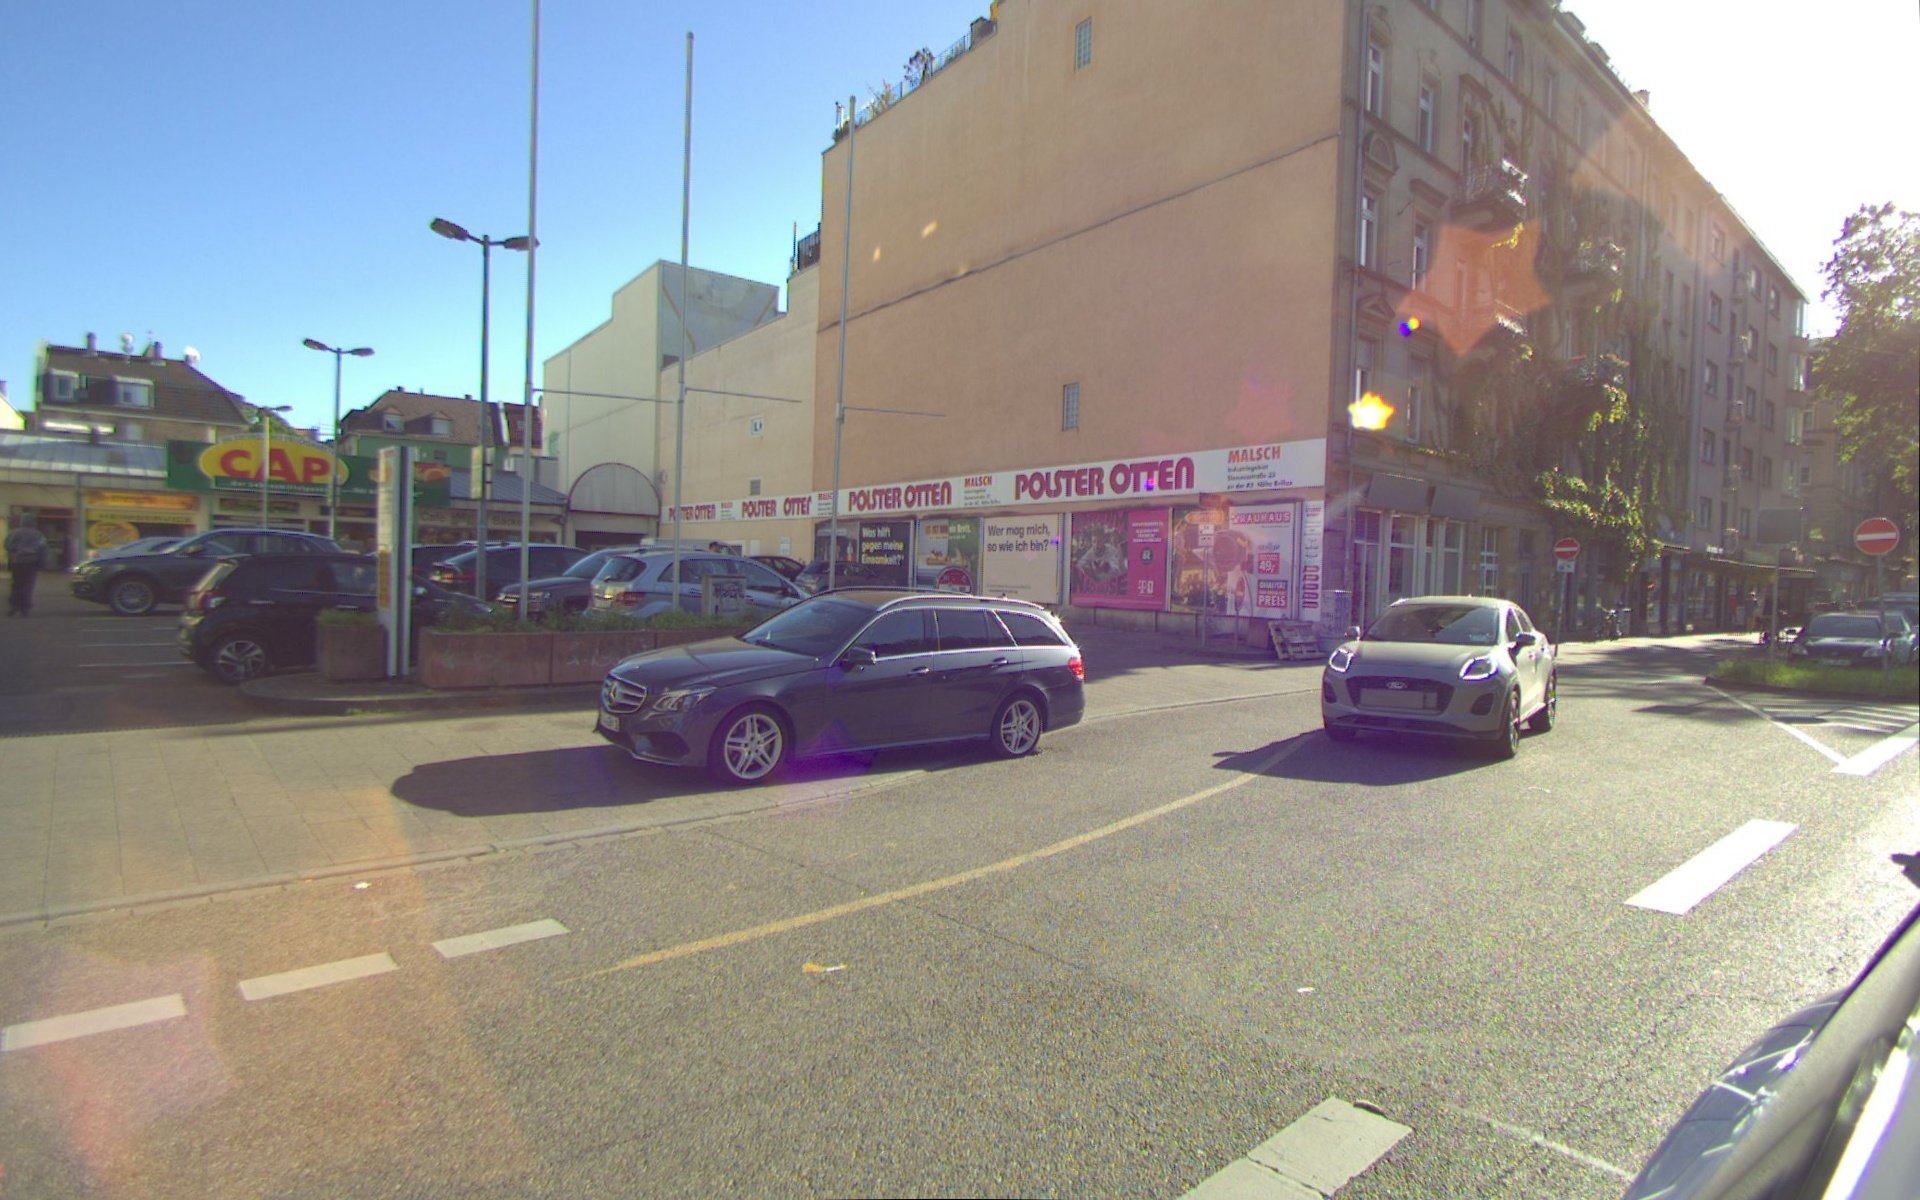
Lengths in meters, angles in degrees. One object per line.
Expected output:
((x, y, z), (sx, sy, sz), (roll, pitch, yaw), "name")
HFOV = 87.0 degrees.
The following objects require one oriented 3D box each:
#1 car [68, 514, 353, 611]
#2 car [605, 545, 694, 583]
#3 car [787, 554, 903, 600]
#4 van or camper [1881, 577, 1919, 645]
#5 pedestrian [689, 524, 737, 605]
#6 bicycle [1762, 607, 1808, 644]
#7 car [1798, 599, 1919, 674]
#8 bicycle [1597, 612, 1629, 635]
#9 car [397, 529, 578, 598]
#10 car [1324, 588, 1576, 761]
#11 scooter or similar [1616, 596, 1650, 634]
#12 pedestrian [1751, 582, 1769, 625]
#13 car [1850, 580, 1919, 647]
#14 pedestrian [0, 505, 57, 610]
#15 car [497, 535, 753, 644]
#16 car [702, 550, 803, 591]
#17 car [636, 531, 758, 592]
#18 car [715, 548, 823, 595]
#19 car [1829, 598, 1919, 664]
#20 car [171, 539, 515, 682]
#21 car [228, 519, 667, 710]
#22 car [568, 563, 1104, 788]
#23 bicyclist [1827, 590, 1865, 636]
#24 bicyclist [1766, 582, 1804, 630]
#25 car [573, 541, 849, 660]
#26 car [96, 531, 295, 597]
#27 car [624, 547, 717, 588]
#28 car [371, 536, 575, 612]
((-14.491, -0.692, 19.735), (4.306, 1.687, 1.758), (0, 2, -41), "car")
((-15.442, -1.796, 50.371), (3.967, 1.758, 1.664), (1, 2, -30), "car")
((-3.856, -0.789, 34.218), (3.579, 1.481, 1.680), (-1, 3, -39), "car")
((31.164, 0.347, 32.445), (5.006, 2.038, 1.887), (0, 2, -42), "van or camper")
((-6.350, -0.913, 26.019), (0.907, 2.039, 0.818), (1, 1, -40), "pedestrian")
((26.502, 0.802, 32.510), (1.918, 1.116, 0.758), (0, 2, -39), "bicycle")
((20.022, 0.745, 22.479), (3.932, 1.537, 1.642), (0, -1, -43), "car")
((21.324, 0.756, 33.041), (1.486, 0.714, 0.469), (0, 1, -41), "bicycle")
((-11.954, -0.902, 25.731), (3.870, 1.601, 1.659), (0, 2, -42), "car")
((5.671, 0.665, 11.422), (1.694, 1.547, 4.320), (1, 1, 38), "car")
((22.614, 0.481, 34.035), (0.631, 1.188, 1.720), (2, 2, 25), "scooter or similar")
((35.000, 0.171, 44.257), (0.507, 1.856, 0.469), (1, 1, -41), "pedestrian")
((27.050, 0.370, 28.903), (3.929, 1.785, 1.868), (0, 2, -40), "car")
((-16.217, -0.729, 17.574), (0.512, 1.777, 0.750), (3, 2, 43), "pedestrian")
((-5.847, -0.208, 17.920), (3.933, 1.714, 1.747), (0, 2, -44), "car")
((-8.199, -1.167, 40.079), (3.575, 1.552, 1.682), (-1, 3, -35), "car")
((-11.335, -1.624, 43.770), (4.789, 2.442, 1.712), (1, 2, -34), "car")
((-7.095, -1.067, 37.723), (3.575, 1.690, 1.682), (-1, 3, -35), "car")
((23.268, 0.727, 25.412), (3.932, 1.537, 1.740), (0, -1, -43), "car")
((-7.463, 0.081, 12.404), (3.339, 1.504, 1.559), (0, 2, -45), "car")
((-5.344, 0.140, 10.880), (3.839, 1.665, 1.652), (3, 2, -45), "car")
((-0.950, 0.520, 9.391), (4.650, 1.505, 1.838), (0, 4, -40), "car")
((30.136, 0.439, 34.421), (1.161, 1.463, 0.678), (0, 5, -41), "bicyclist")
((26.480, 0.178, 32.488), (0.934, 1.480, 0.746), (0, 2, -39), "bicyclist")
((-3.863, -0.028, 16.138), (3.935, 1.665, 1.746), (0, 2, -45), "car")
((-19.368, -0.890, 25.729), (3.930, 1.538, 1.725), (0, 2, -41), "car")
((-13.826, -1.561, 48.376), (3.967, 1.823, 1.664), (1, 2, -30), "car")
((-10.898, -0.568, 22.805), (3.870, 1.563, 1.544), (0, 2, -42), "car")
